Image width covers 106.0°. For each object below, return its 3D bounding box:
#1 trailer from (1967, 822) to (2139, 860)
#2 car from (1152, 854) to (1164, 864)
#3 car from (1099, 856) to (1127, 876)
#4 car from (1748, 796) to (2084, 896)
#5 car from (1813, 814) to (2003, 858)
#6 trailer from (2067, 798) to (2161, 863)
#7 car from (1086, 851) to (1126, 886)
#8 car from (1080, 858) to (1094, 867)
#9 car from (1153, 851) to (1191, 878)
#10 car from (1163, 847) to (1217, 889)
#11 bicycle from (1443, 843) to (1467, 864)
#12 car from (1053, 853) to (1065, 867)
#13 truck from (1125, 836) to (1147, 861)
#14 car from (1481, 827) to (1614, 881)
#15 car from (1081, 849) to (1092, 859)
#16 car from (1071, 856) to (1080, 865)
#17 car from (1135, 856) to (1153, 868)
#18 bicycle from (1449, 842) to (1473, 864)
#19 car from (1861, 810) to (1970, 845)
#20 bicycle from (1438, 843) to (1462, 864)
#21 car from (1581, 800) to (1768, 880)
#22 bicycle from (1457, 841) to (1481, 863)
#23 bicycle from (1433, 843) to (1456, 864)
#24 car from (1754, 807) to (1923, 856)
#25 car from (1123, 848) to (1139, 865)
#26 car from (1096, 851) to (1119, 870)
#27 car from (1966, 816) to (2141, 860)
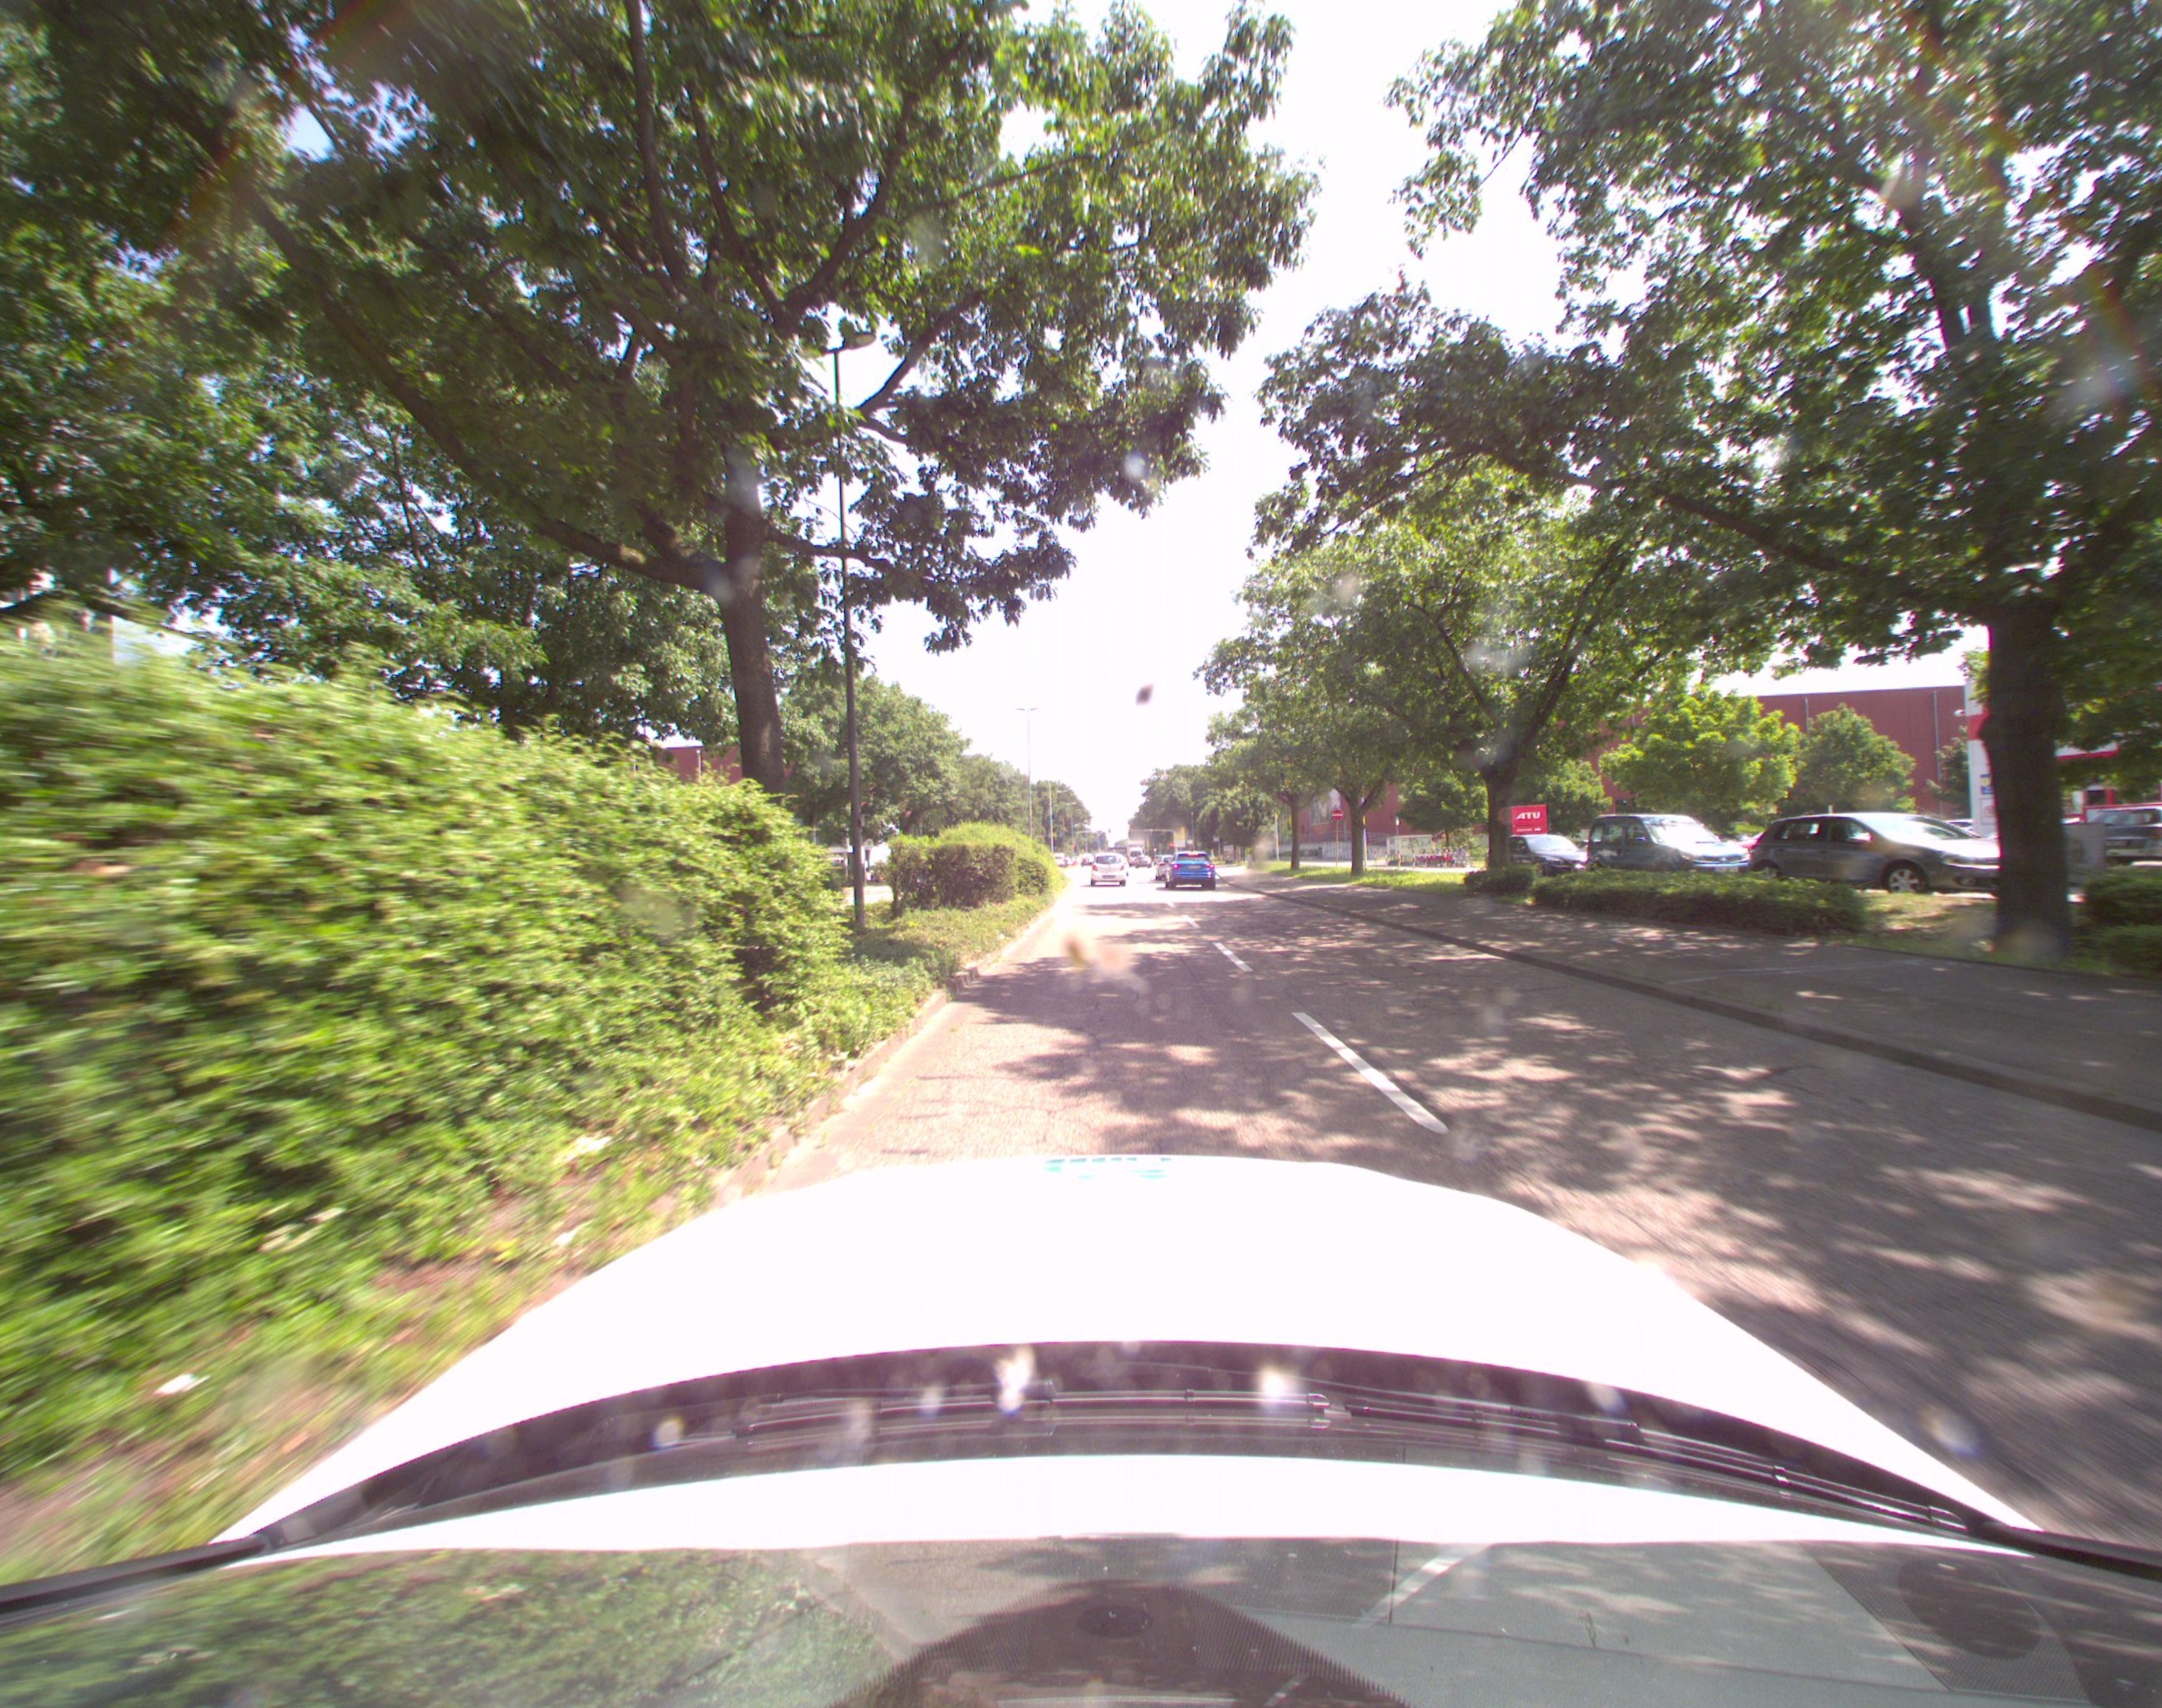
[{"bbox_3d":[24.775,-0.318,20.826,2.702,0.911,1.381,-1,0,1],"label":"trailer"},{"bbox_3d":[11.581,0.765,122.643,1.627,1.464,4.002,-3,0,2],"label":"car"},{"bbox_3d":[2.320,0.876,59.036,1.877,1.354,4.002,-2,-1,2],"label":"car"},{"bbox_3d":[13.658,-0.116,13.717,1.694,1.380,3.907,-2,0,1],"label":"car"},{"bbox_3d":[25.940,-0.530,25.651,3.972,1.221,1.909,-2,-1,1],"label":"car"},{"bbox_3d":[28.056,-0.661,20.901,3.589,1.582,1.414,-3,0,3],"label":"trailer"},{"bbox_3d":[1.133,0.667,38.606,1.634,1.552,3.322,-2,-1,-2],"label":"car"},{"bbox_3d":[0.958,1.340,128.336,1.986,1.288,4.002,-3,0,2],"label":"car"},{"bbox_3d":[5.290,0.629,47.799,1.859,1.473,4.001,-2,-1,2],"label":"car"},{"bbox_3d":[4.487,0.575,34.066,1.802,1.593,4.351,-2,-1,2],"label":"car"},{"bbox_3d":[20.212,-0.033,43.991,1.084,1.085,0.347,-3,-1,2],"label":"bicycle"},{"bbox_3d":[-3.771,1.072,140.108,1.772,2.282,4.755,-2,-1,2],"label":"car"},{"bbox_3d":[8.292,-0.826,123.623,2.921,3.502,9.162,-3,0,2],"label":"truck"},{"bbox_3d":[14.025,0.022,24.815,1.692,1.424,4.660,-2,-1,5],"label":"car"},{"bbox_3d":[1.180,0.046,173.424,1.985,2.013,4.004,-3,0,3],"label":"car"},{"bbox_3d":[-0.860,1.093,134.626,1.364,1.308,2.692,-3,0,-1],"label":"car"},{"bbox_3d":[7.527,0.936,97.503,1.859,1.310,4.001,-3,0,2],"label":"car"},{"bbox_3d":[20.129,-0.042,43.161,1.084,1.085,0.347,-3,-1,2],"label":"bicycle"},{"bbox_3d":[43.799,-1.353,42.871,1.704,1.619,4.002,-3,0,2],"label":"car"},{"bbox_3d":[20.208,-0.024,44.659,1.084,1.085,0.407,-3,-1,2],"label":"bicycle"},{"bbox_3d":[13.781,-0.277,19.216,1.693,1.637,3.909,-2,-1,3],"label":"car"},{"bbox_3d":[20.268,-0.094,42.540,1.084,1.085,0.347,-3,-1,2],"label":"bicycle"},{"bbox_3d":[20.227,-0.016,45.332,1.084,1.085,0.407,-3,-1,2],"label":"bicycle"},{"bbox_3d":[25.905,-0.751,27.972,3.974,1.442,1.942,-3,0,0],"label":"car"},{"bbox_3d":[6.928,0.308,113.267,1.986,2.255,4.002,-3,0,2],"label":"car"},{"bbox_3d":[2.356,0.594,72.636,1.790,1.523,3.997,-2,-1,-2],"label":"car"},{"bbox_3d":[27.634,-0.440,23.216,3.113,1.208,1.528,0,0,3],"label":"car"}]
